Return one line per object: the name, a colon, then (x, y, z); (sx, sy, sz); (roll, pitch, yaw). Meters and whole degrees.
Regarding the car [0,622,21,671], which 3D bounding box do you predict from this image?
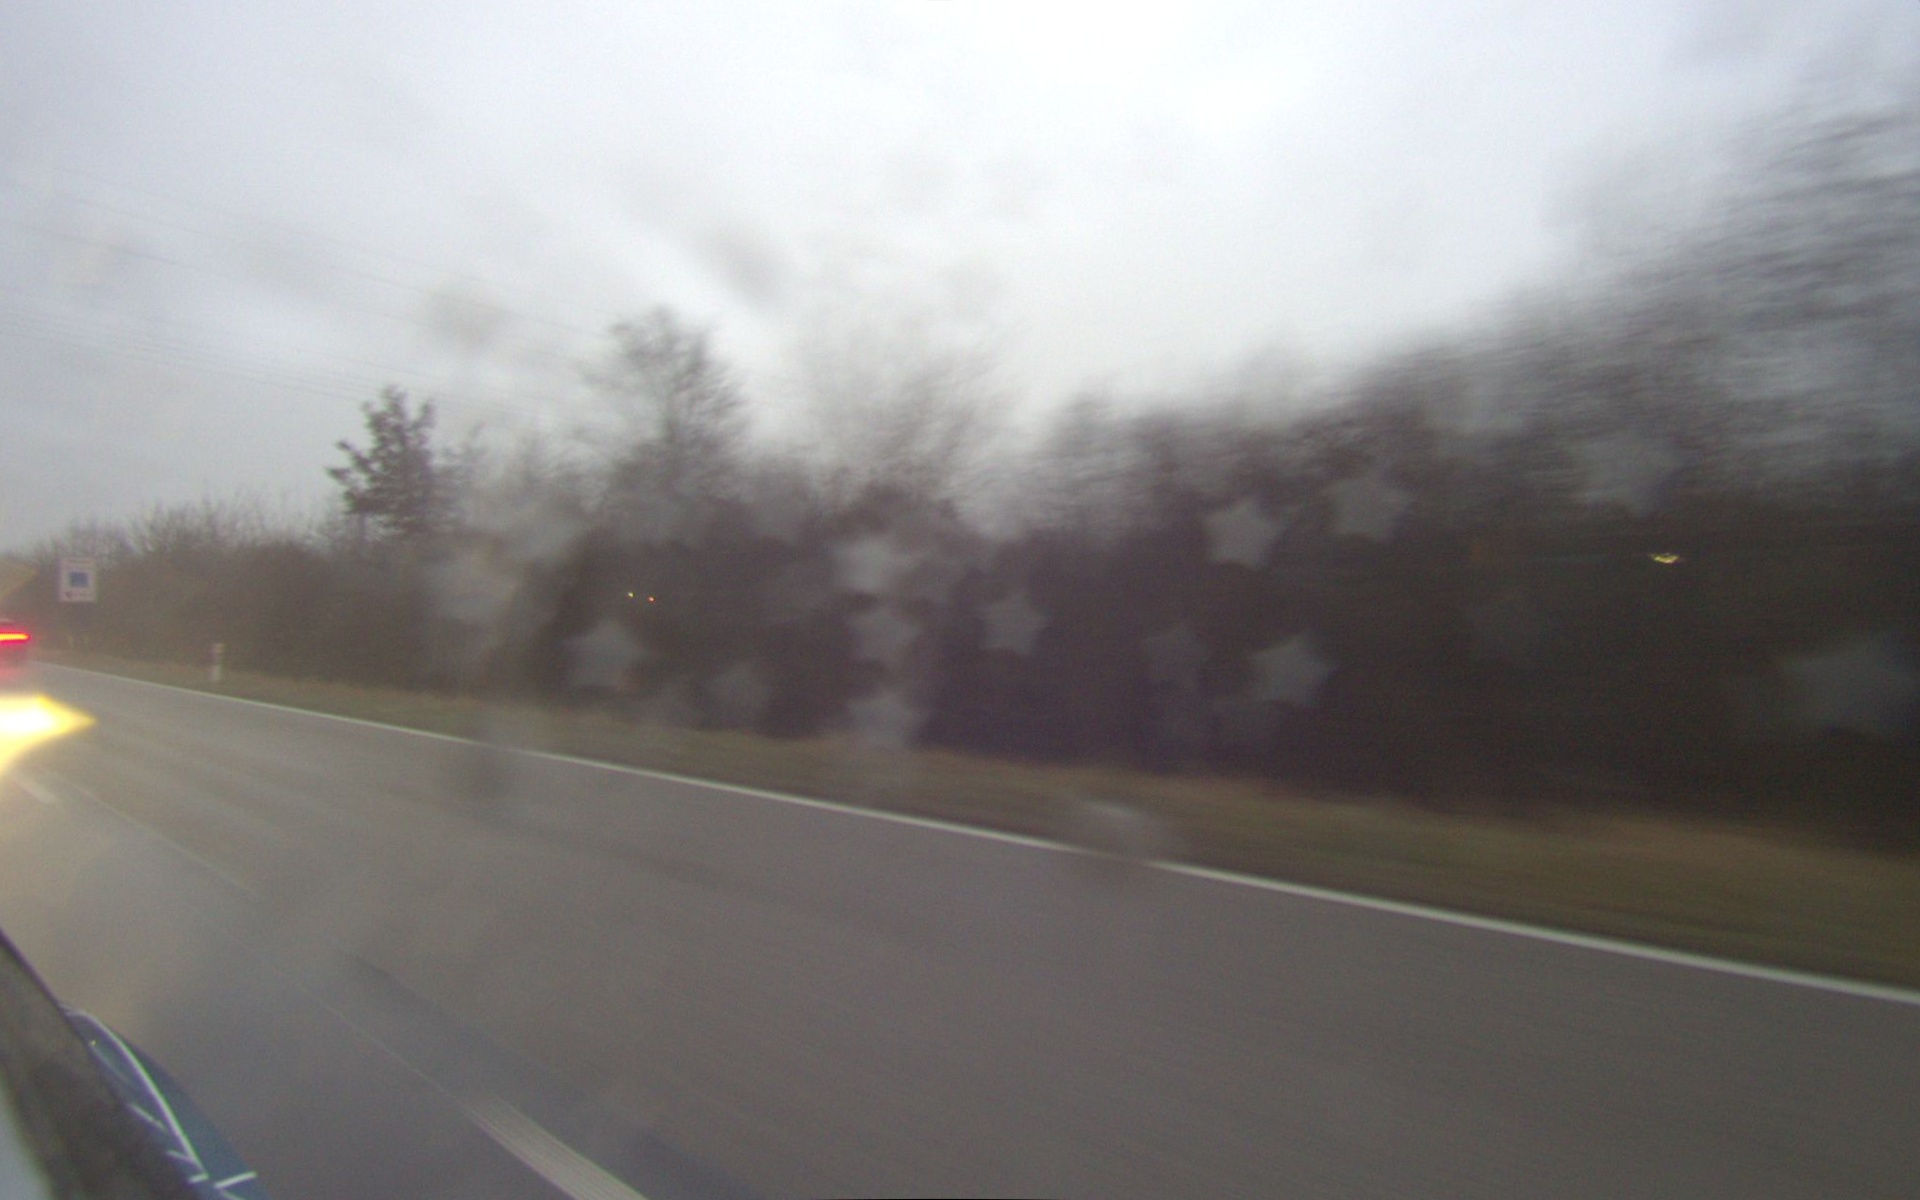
car: (-33.025, 1.565, 34.018); (4.162, 1.603, 1.750); (-2, -1, 42)
